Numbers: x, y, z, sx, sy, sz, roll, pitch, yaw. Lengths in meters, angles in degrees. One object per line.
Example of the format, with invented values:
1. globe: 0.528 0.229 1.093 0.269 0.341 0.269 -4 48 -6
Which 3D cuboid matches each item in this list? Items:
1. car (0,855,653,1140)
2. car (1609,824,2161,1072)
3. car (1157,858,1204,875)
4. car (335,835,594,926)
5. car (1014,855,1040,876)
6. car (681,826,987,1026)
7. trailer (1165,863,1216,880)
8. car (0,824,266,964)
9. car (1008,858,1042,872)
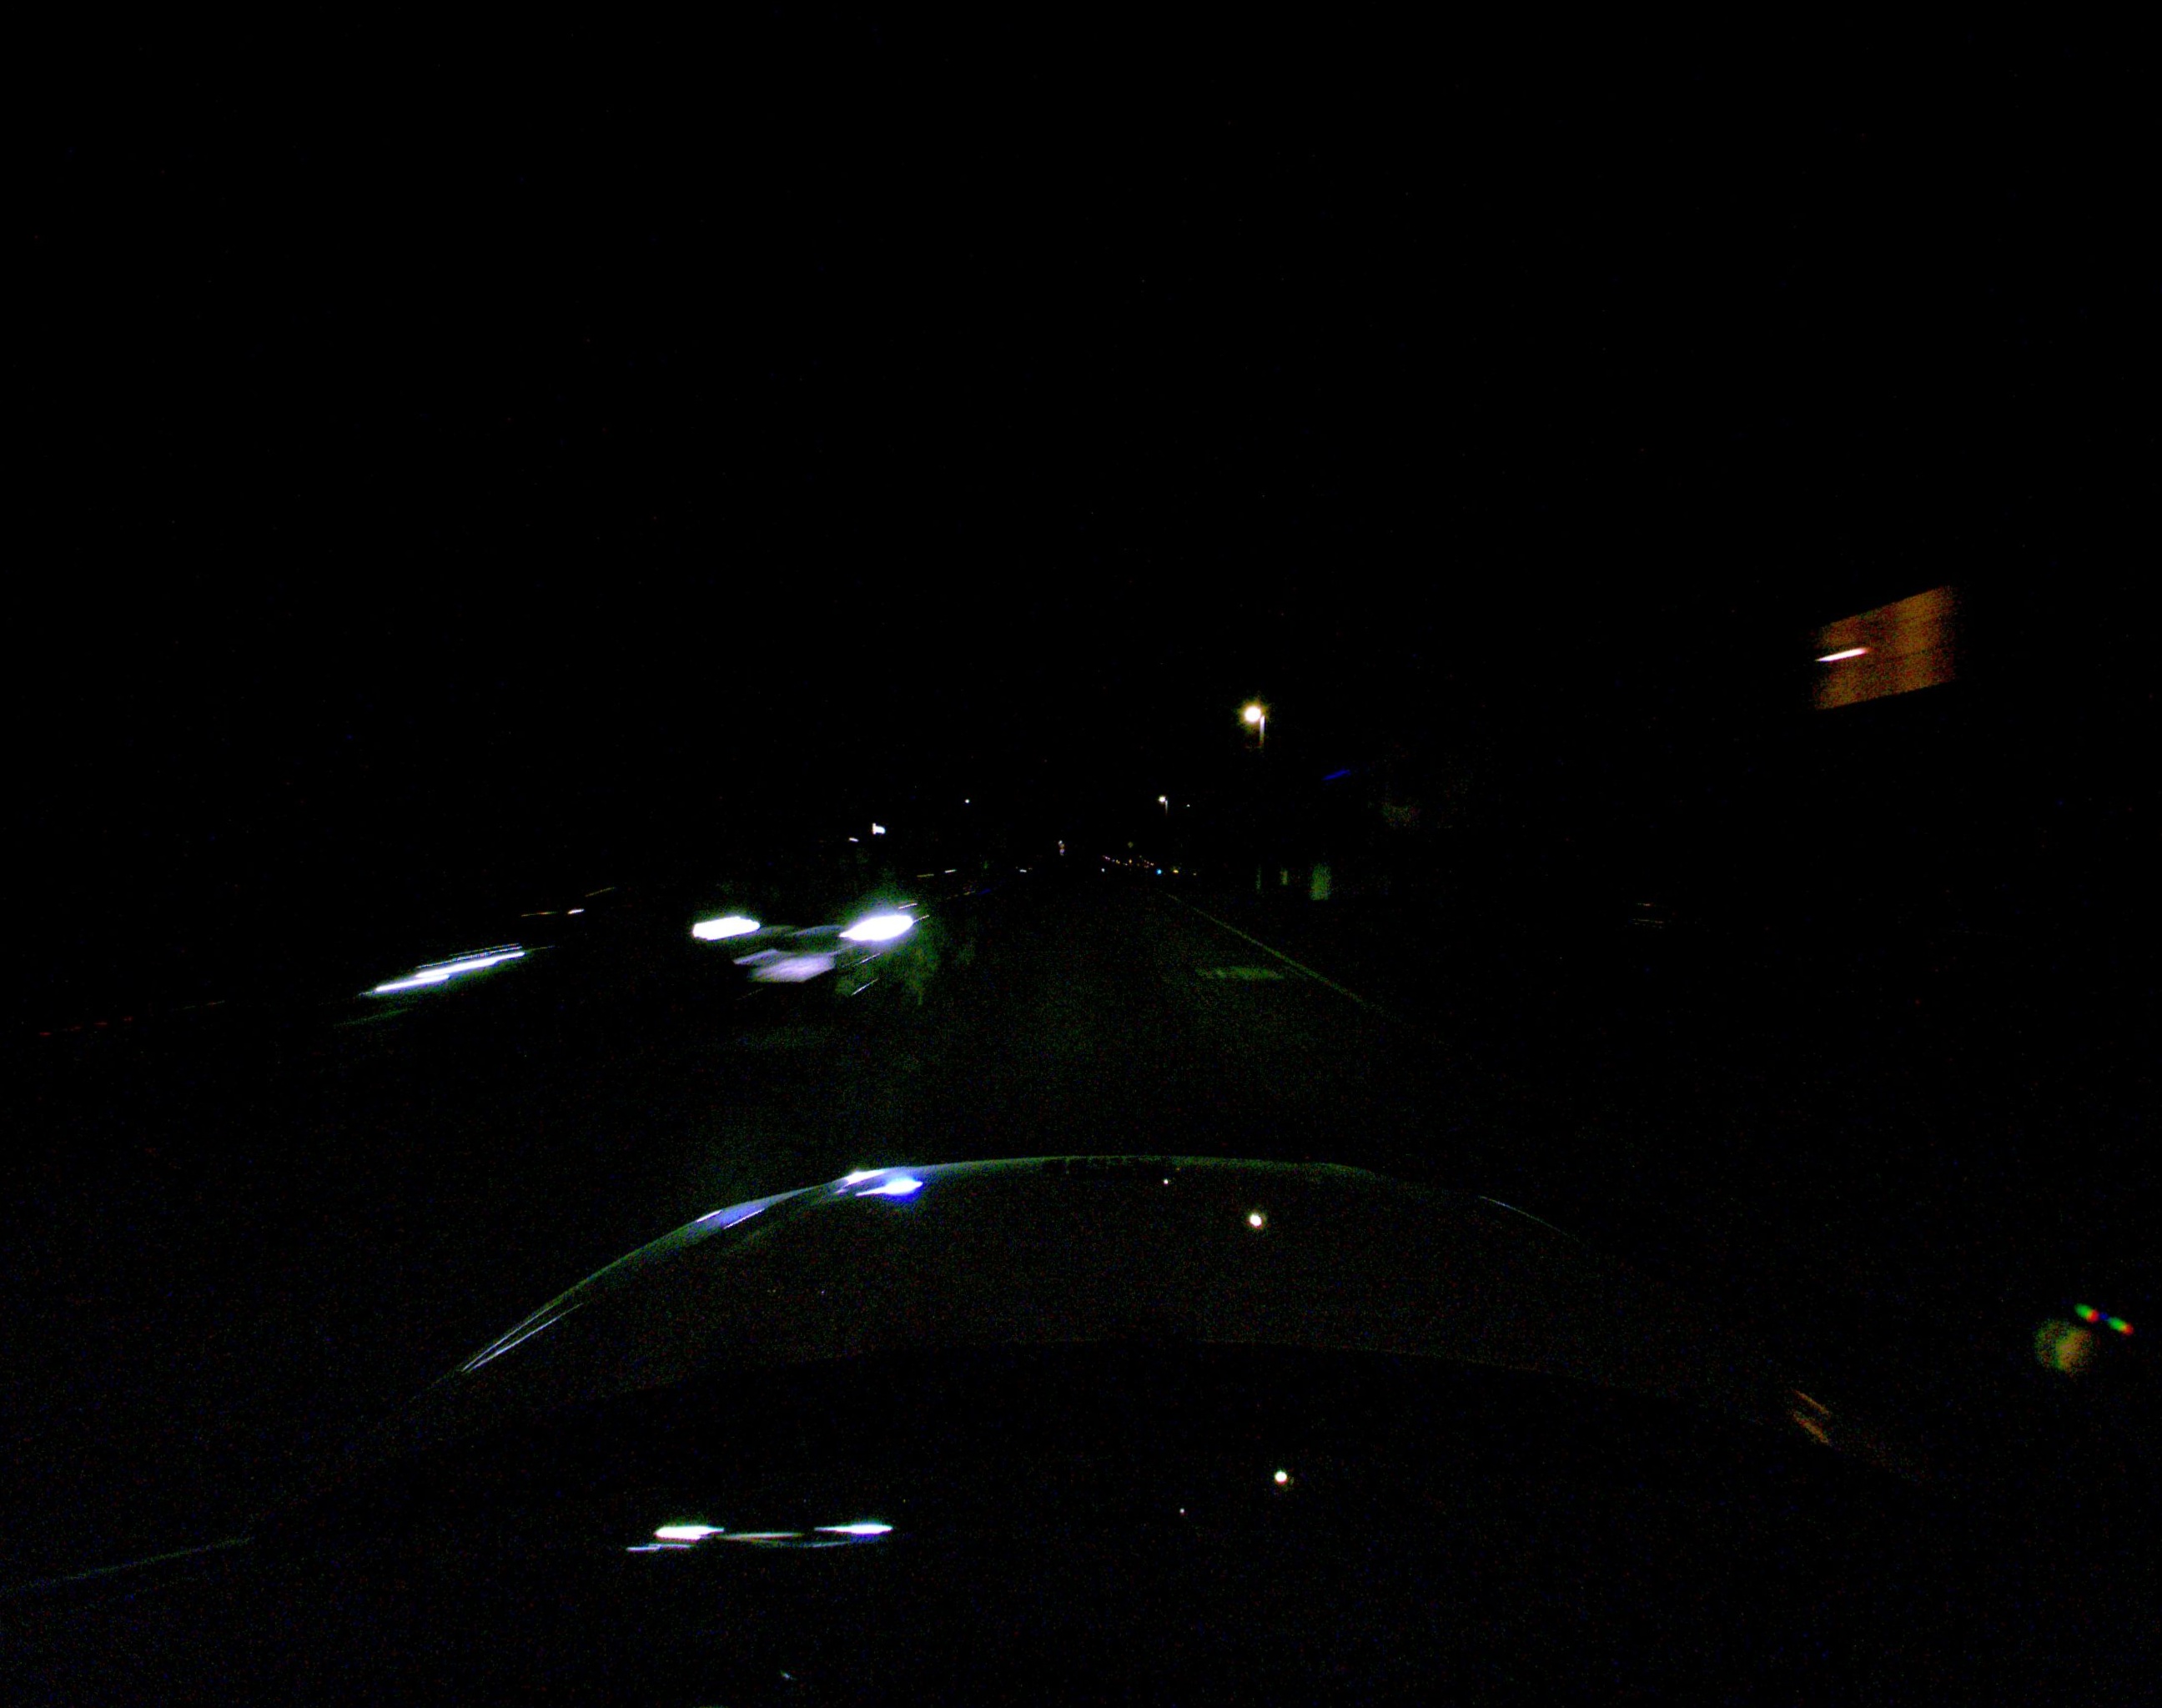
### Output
1. car: -5.249 0.756 6.278 1.743 1.468 4.008 1 0 0
2. car: 6.551 0.590 7.009 1.634 1.560 3.678 -1 0 0
3. car: 7.628 0.966 62.566 3.382 1.232 1.723 -1 0 -1
4. car: -13.244 0.537 17.758 3.982 1.703 1.944 -2 0 -7
5. car: -4.352 0.899 66.072 1.665 1.591 3.990 1 0 3
6. car: -2.427 0.633 9.405 1.995 1.748 4.560 0 0 2
7. trailer: 7.849 1.255 58.583 3.420 1.002 1.954 3 0 0
8. car: -13.938 0.530 10.870 4.100 1.662 2.001 -2 0 2
9. car: -6.640 1.305 96.615 3.682 1.627 1.791 -1 -1 19
